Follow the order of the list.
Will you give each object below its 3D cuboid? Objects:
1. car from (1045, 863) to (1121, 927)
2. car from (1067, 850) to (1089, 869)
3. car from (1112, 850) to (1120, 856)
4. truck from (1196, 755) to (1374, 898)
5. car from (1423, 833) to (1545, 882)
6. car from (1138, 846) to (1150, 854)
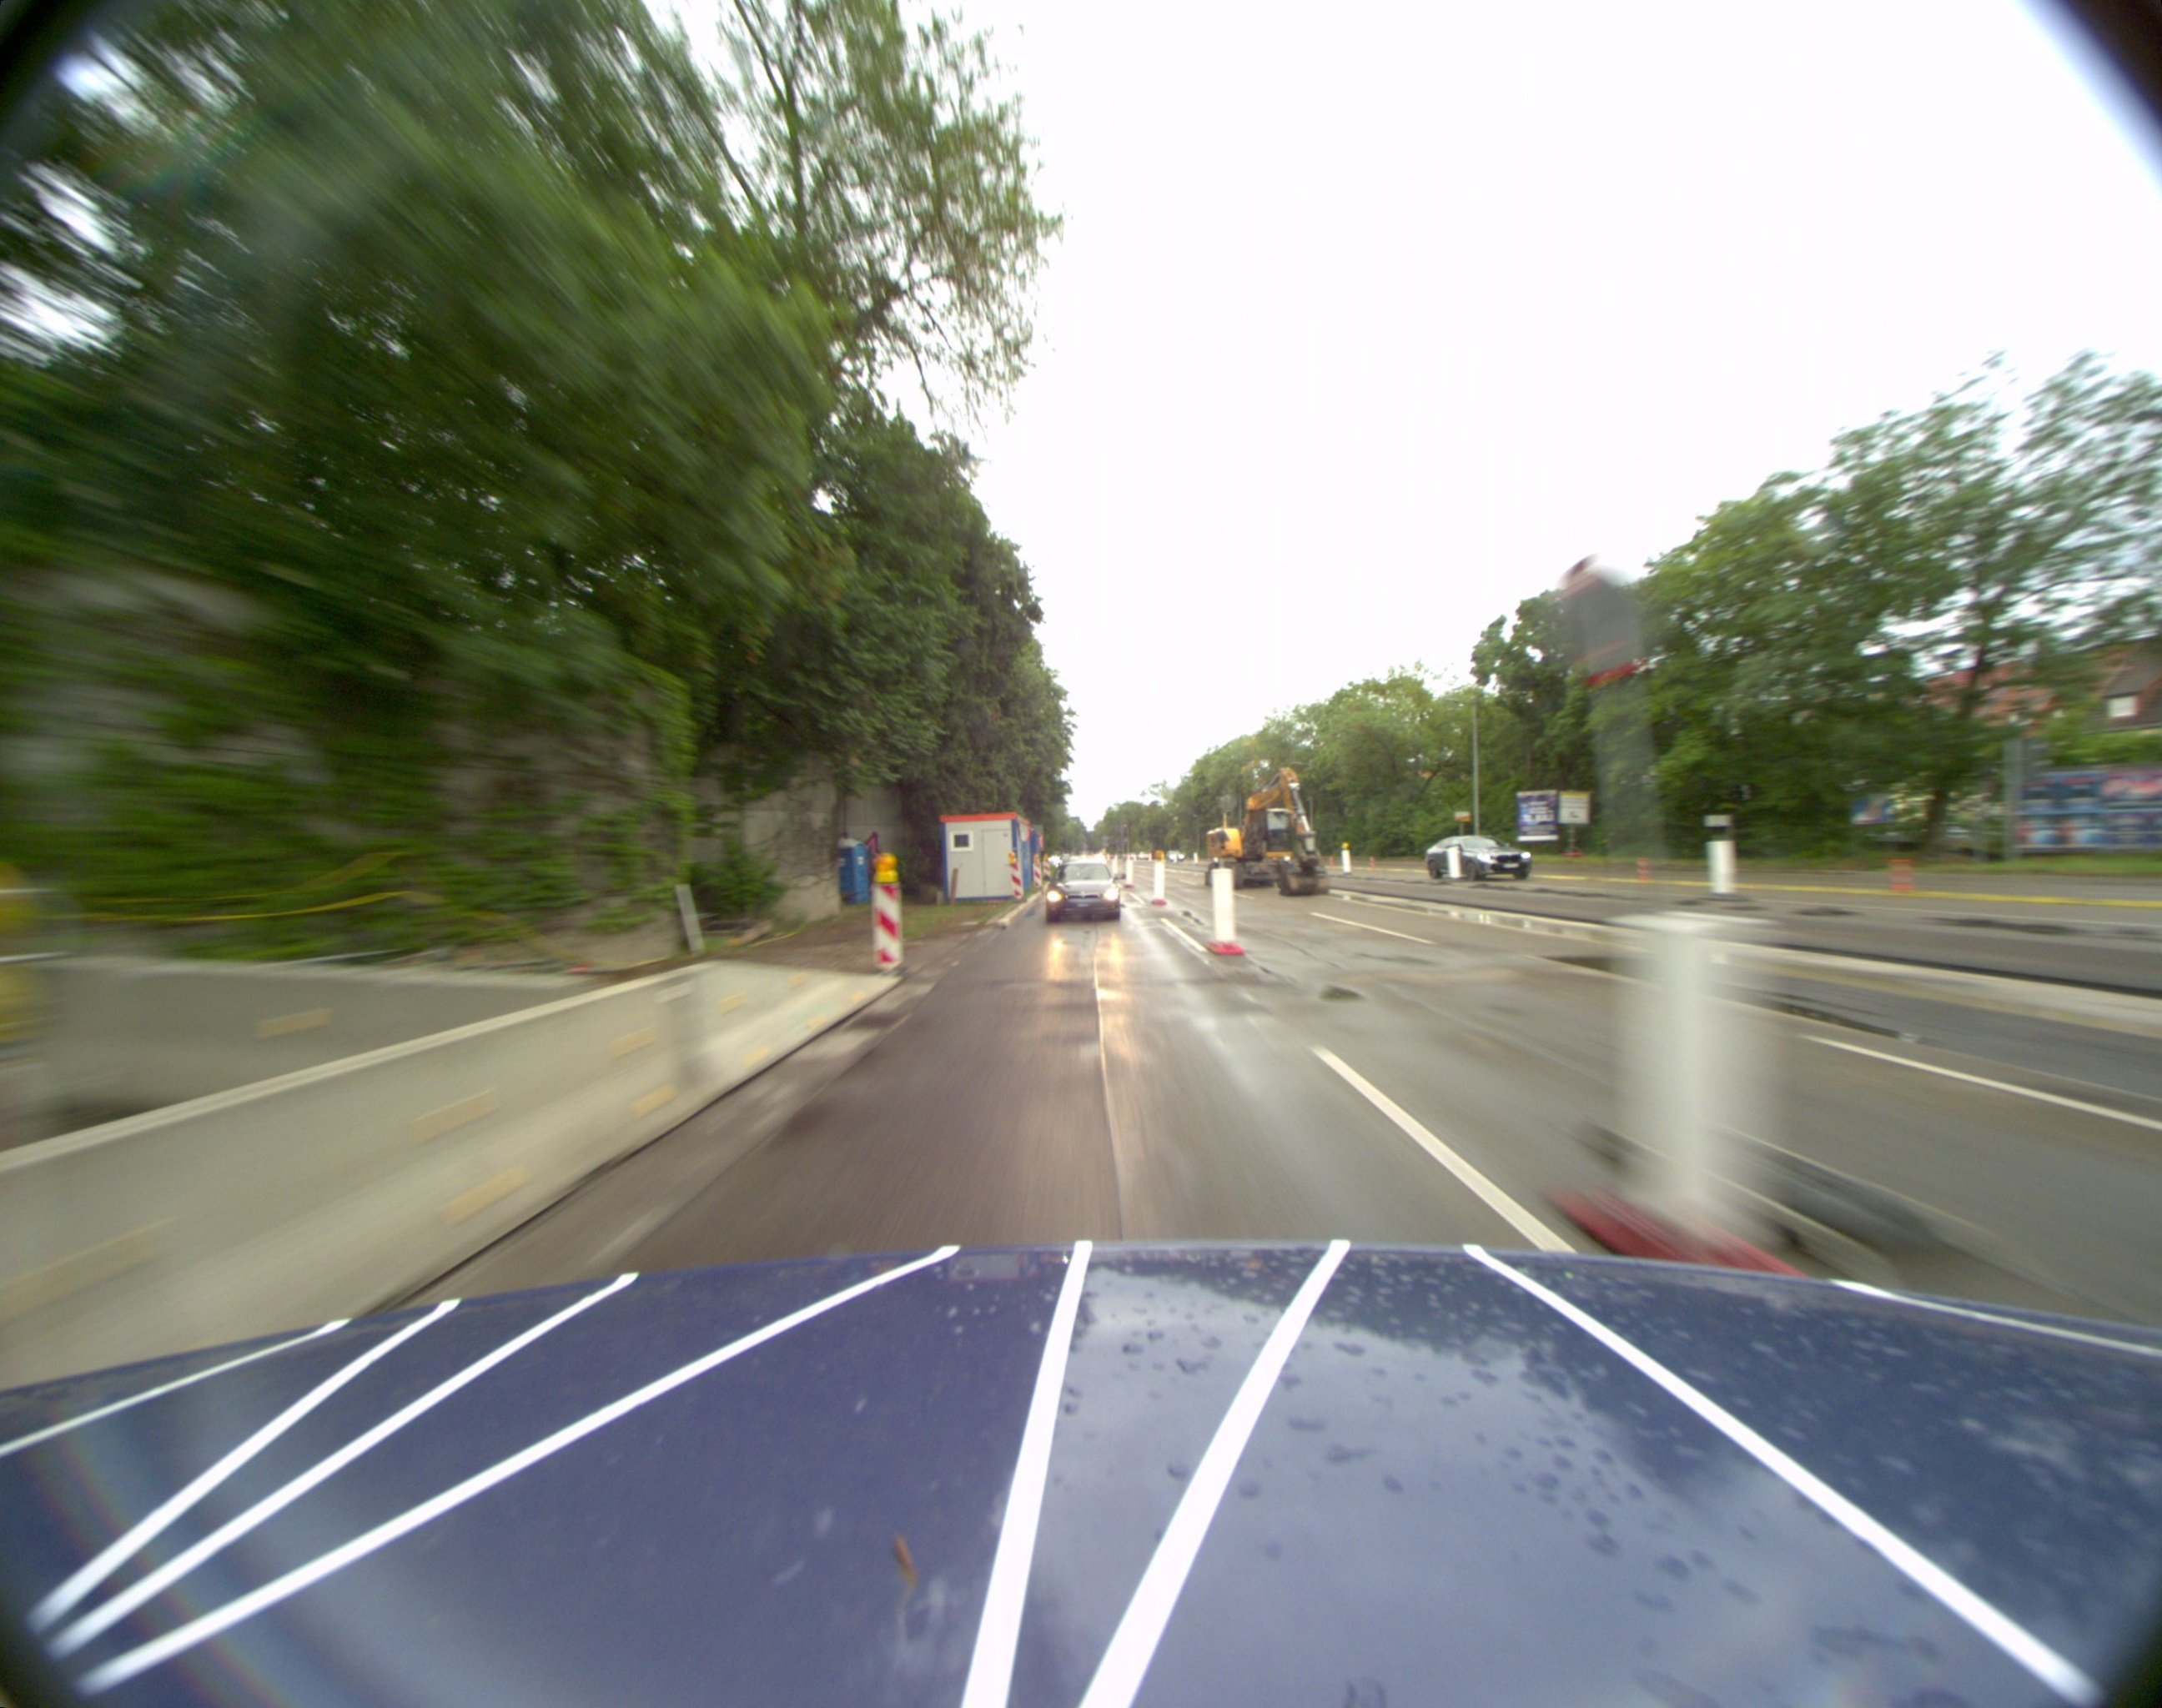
[{"bbox_3d":[-0.049,0.955,19.439,1.658,1.409,4.127,0,0,-4],"label":"car"},{"bbox_3d":[-0.315,0.470,72.423,1.999,1.707,3.999,-1,1,-2],"label":"car"},{"bbox_3d":[10.440,-0.386,227.467,2.027,1.715,5.011,-3,0,-2],"label":"car"},{"bbox_3d":[7.046,-0.849,28.480,2.906,4.234,10.751,-3,0,-4],"label":"truck"},{"bbox_3d":[15.082,0.104,28.791,1.999,1.619,4.811,-2,0,-1],"label":"car"},{"bbox_3d":[13.389,-0.790,161.499,1.895,1.651,4.892,-2,0,-2],"label":"car"}]
